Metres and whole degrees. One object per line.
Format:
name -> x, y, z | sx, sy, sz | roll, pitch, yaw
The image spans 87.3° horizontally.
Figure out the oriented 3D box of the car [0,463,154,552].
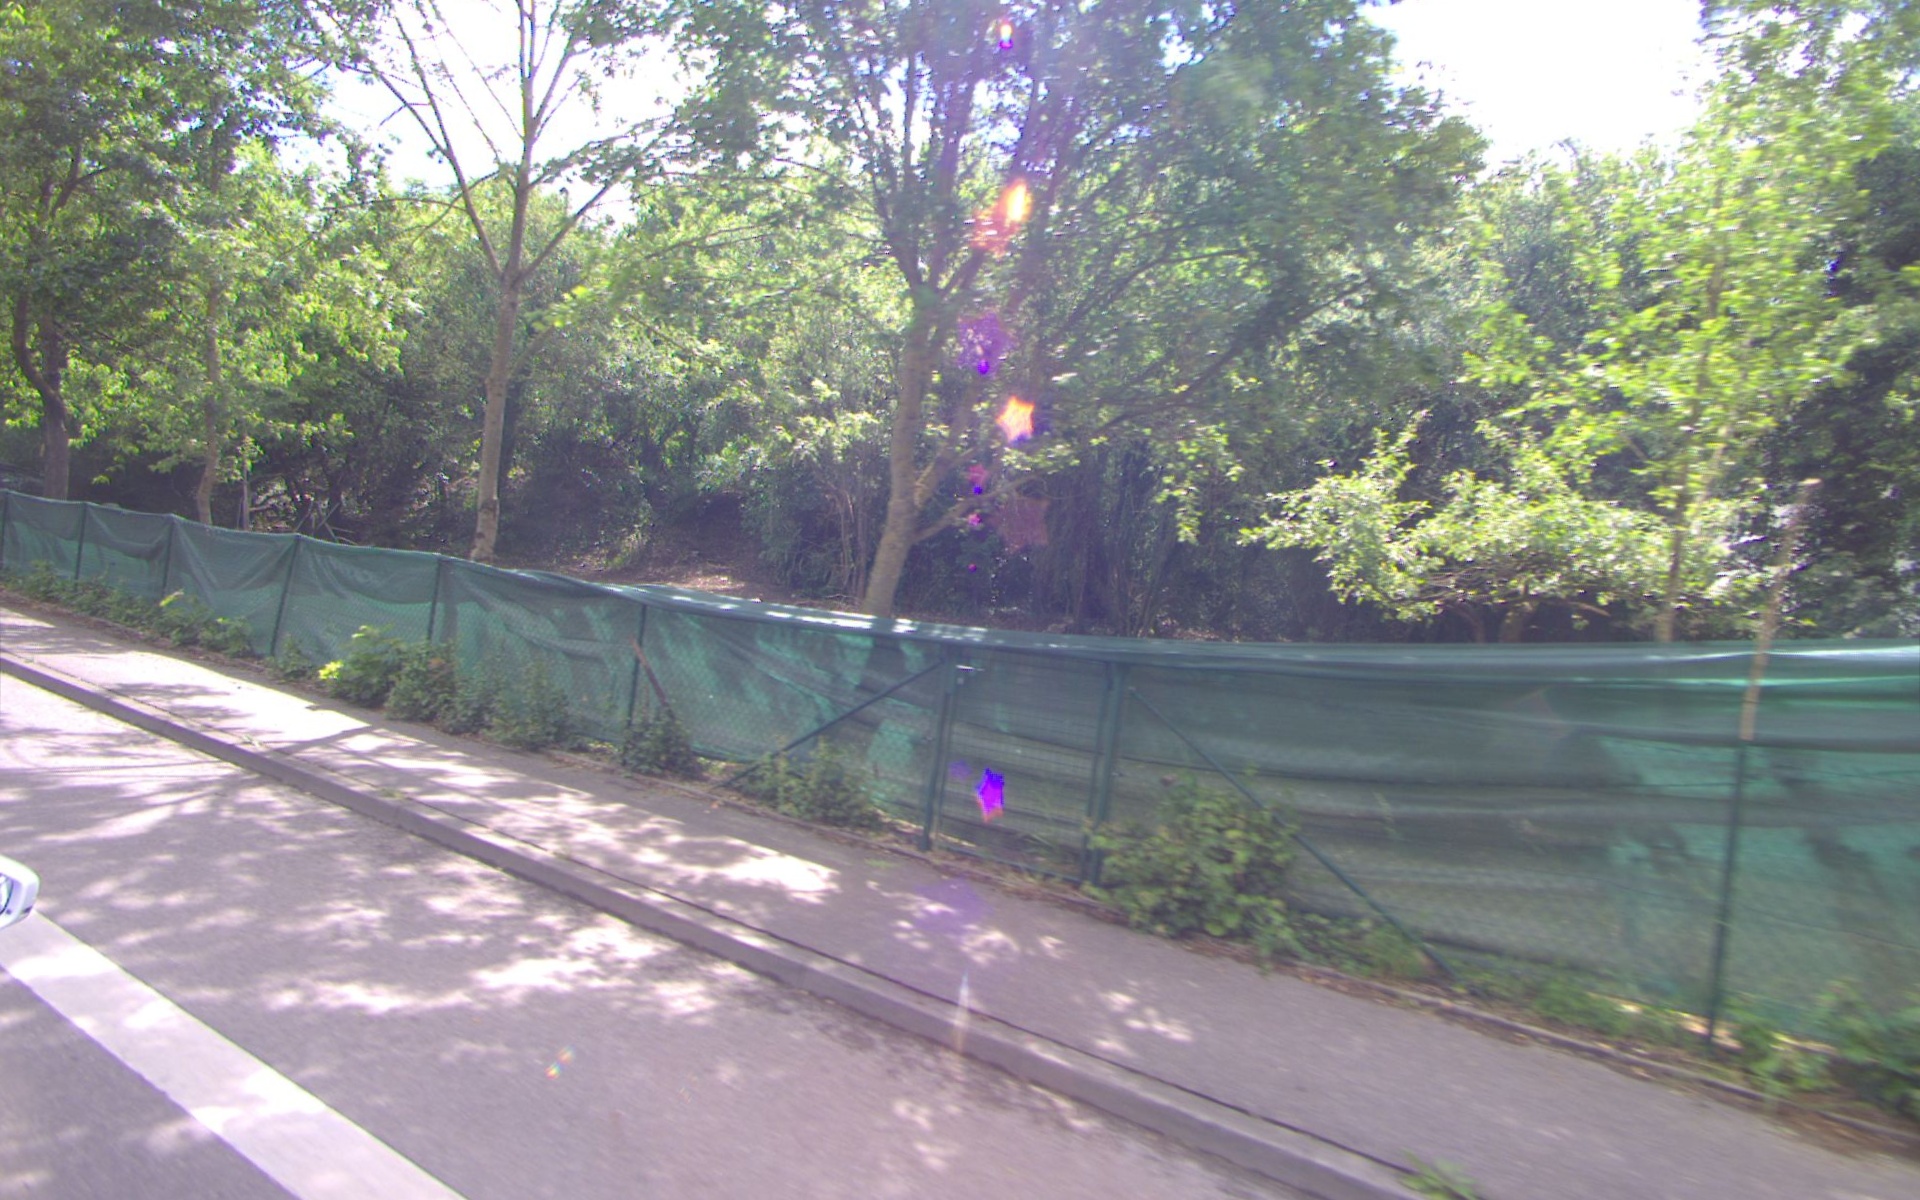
car -> -21.006, -2.123, 22.259 | 1.968, 1.693, 4.524 | 5, 1, 33
